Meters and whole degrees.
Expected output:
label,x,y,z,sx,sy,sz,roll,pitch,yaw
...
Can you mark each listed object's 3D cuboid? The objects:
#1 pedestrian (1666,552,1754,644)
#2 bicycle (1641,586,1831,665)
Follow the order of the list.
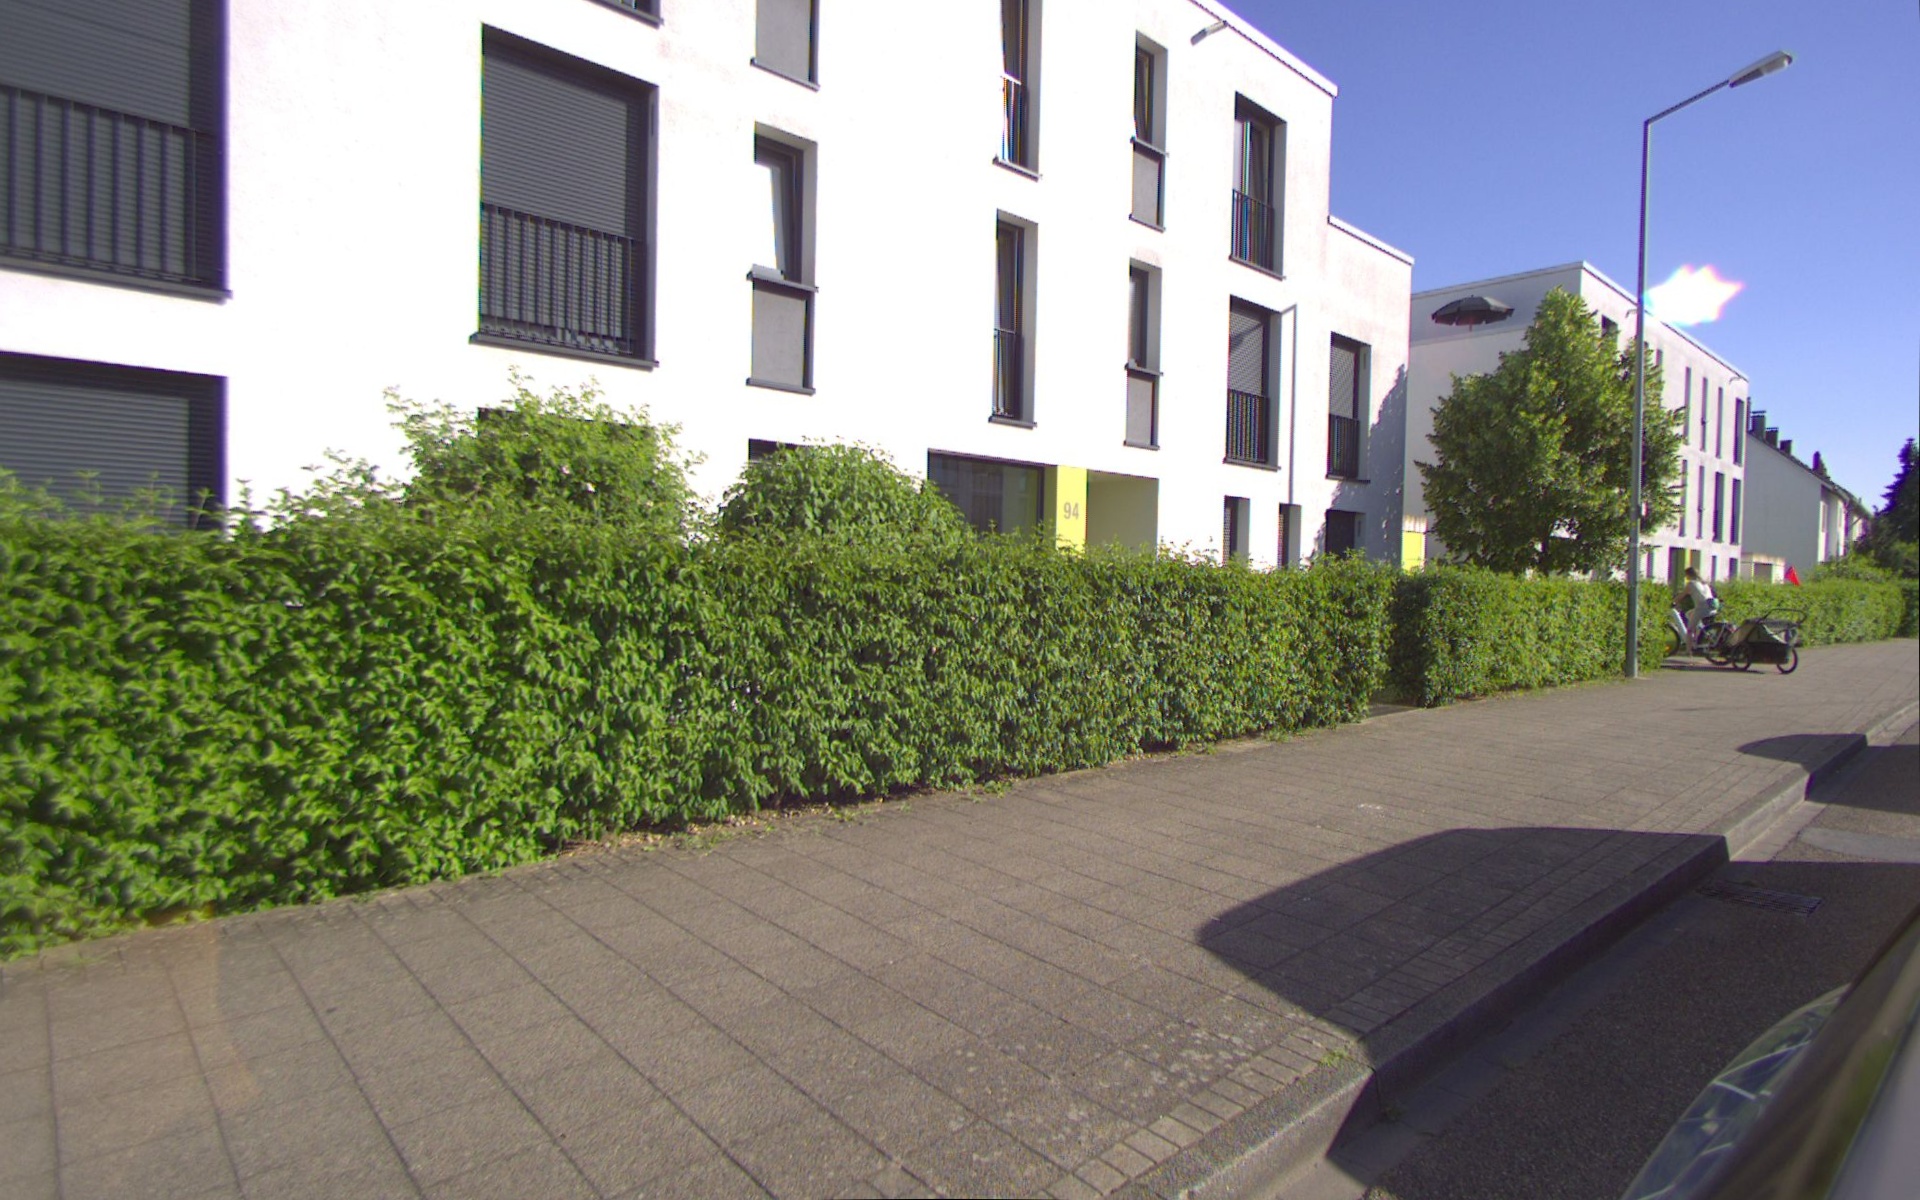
label,x,y,z,sx,sy,sz,roll,pitch,yaw
pedestrian,13.695,-0.055,18.503,0.896,1.613,0.855,1,2,0
bicycle,13.696,0.390,18.057,0.914,1.187,3.126,1,2,0
